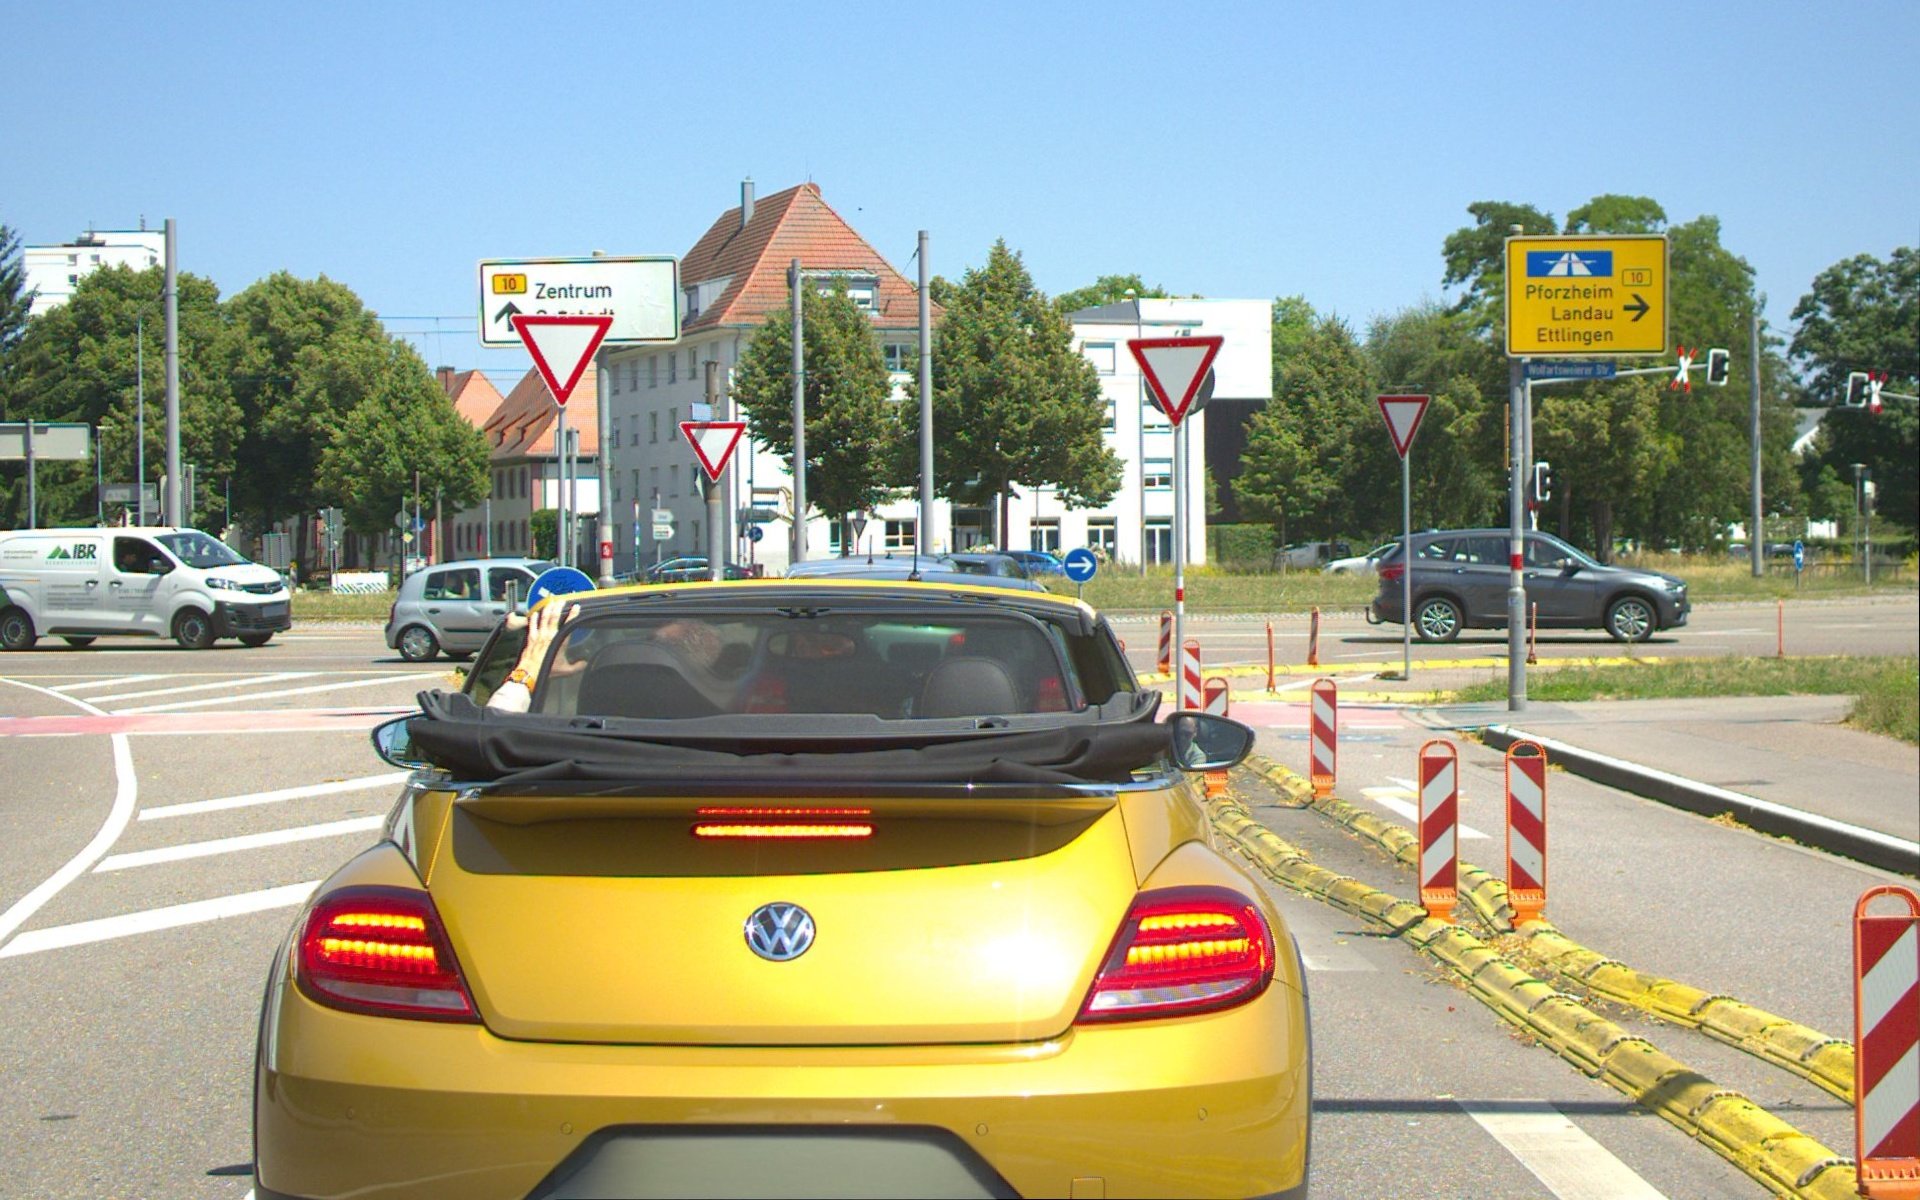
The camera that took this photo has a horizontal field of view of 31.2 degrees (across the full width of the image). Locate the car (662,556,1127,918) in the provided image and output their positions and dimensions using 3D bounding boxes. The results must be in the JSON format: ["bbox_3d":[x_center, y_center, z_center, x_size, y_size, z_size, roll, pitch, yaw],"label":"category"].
[{"bbox_3d":[-0.285,0.521,15.696,1.848,1.437,4.000,0,1,-1],"label":"car"}]

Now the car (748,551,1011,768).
[{"bbox_3d":[-0.556,0.369,24.793,1.736,1.437,4.000,0,1,-1],"label":"car"}]

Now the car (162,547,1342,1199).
[{"bbox_3d":[-0.340,0.608,7.008,1.752,1.417,3.778,0,1,-1],"label":"car"}]

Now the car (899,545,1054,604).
[{"bbox_3d":[0.541,-0.824,111.118,4.916,1.780,2.026,-1,1,1],"label":"car"}]

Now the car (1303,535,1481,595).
[{"bbox_3d":[13.619,-1.101,108.477,5.170,1.780,2.024,-1,1,26],"label":"car"}]

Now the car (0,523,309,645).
[{"bbox_3d":[-12.864,-0.278,53.753,4.976,1.843,1.998,1,1,22],"label":"car"}]

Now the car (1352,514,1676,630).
[{"bbox_3d":[7.801,-0.405,48.746,4.434,1.590,1.999,0,1,7],"label":"car"}]

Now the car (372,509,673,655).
[{"bbox_3d":[-5.926,-0.238,46.696,3.668,1.843,1.632,-2,0,13],"label":"car"}]

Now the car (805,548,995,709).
[{"bbox_3d":[-0.574,0.238,33.575,1.736,1.472,4.000,0,1,-1],"label":"car"}]
